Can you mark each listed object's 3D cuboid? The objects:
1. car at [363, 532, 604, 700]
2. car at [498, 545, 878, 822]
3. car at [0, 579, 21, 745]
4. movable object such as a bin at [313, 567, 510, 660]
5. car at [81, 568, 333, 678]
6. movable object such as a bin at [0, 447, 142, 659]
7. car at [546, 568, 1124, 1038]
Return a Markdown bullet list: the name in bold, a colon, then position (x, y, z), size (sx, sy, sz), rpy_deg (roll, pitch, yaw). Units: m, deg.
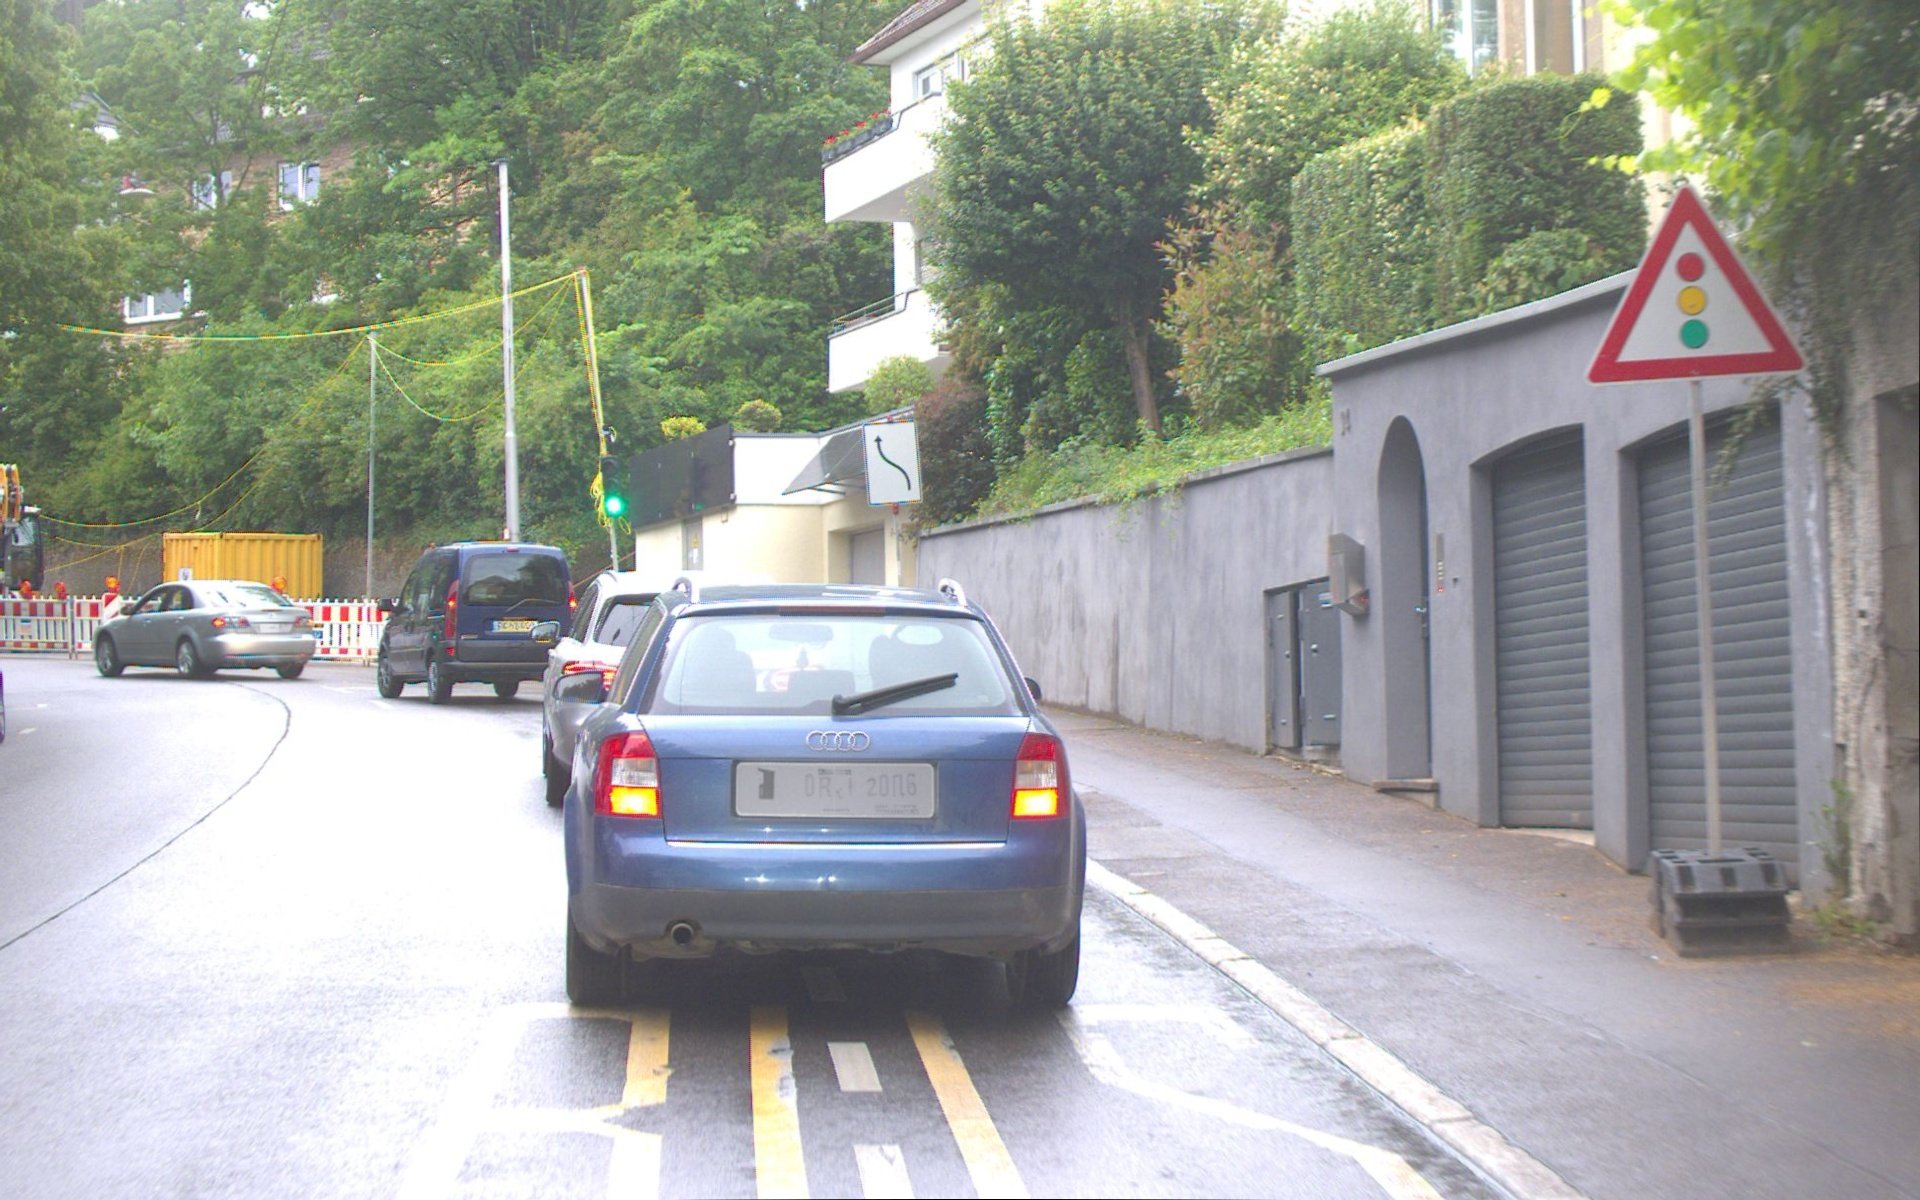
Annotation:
- **car**: position (-5.590, 0.157, 39.909), size (1.993, 1.787, 4.001), rpy_deg (-2, 1, -19)
- **car**: position (-1.878, 0.451, 22.416), size (1.925, 1.612, 4.322), rpy_deg (0, 1, -12)
- **car**: position (-9.584, 0.634, 30.859), size (1.681, 1.503, 4.317), rpy_deg (-4, 2, -9)
- **movable object such as a bin**: position (-9.565, 0.210, 59.736), size (1.993, 1.514, 4.000), rpy_deg (0, 1, -31)
- **car**: position (-10.941, 0.333, 49.792), size (1.721, 1.481, 4.074), rpy_deg (-3, 1, -42)
- **movable object such as a bin**: position (-19.333, -0.945, 68.485), size (2.820, 4.000, 7.324), rpy_deg (-1, 1, -41)
- **car**: position (-0.544, 0.608, 12.655), size (1.785, 1.437, 3.964), rpy_deg (0, 1, -5)
